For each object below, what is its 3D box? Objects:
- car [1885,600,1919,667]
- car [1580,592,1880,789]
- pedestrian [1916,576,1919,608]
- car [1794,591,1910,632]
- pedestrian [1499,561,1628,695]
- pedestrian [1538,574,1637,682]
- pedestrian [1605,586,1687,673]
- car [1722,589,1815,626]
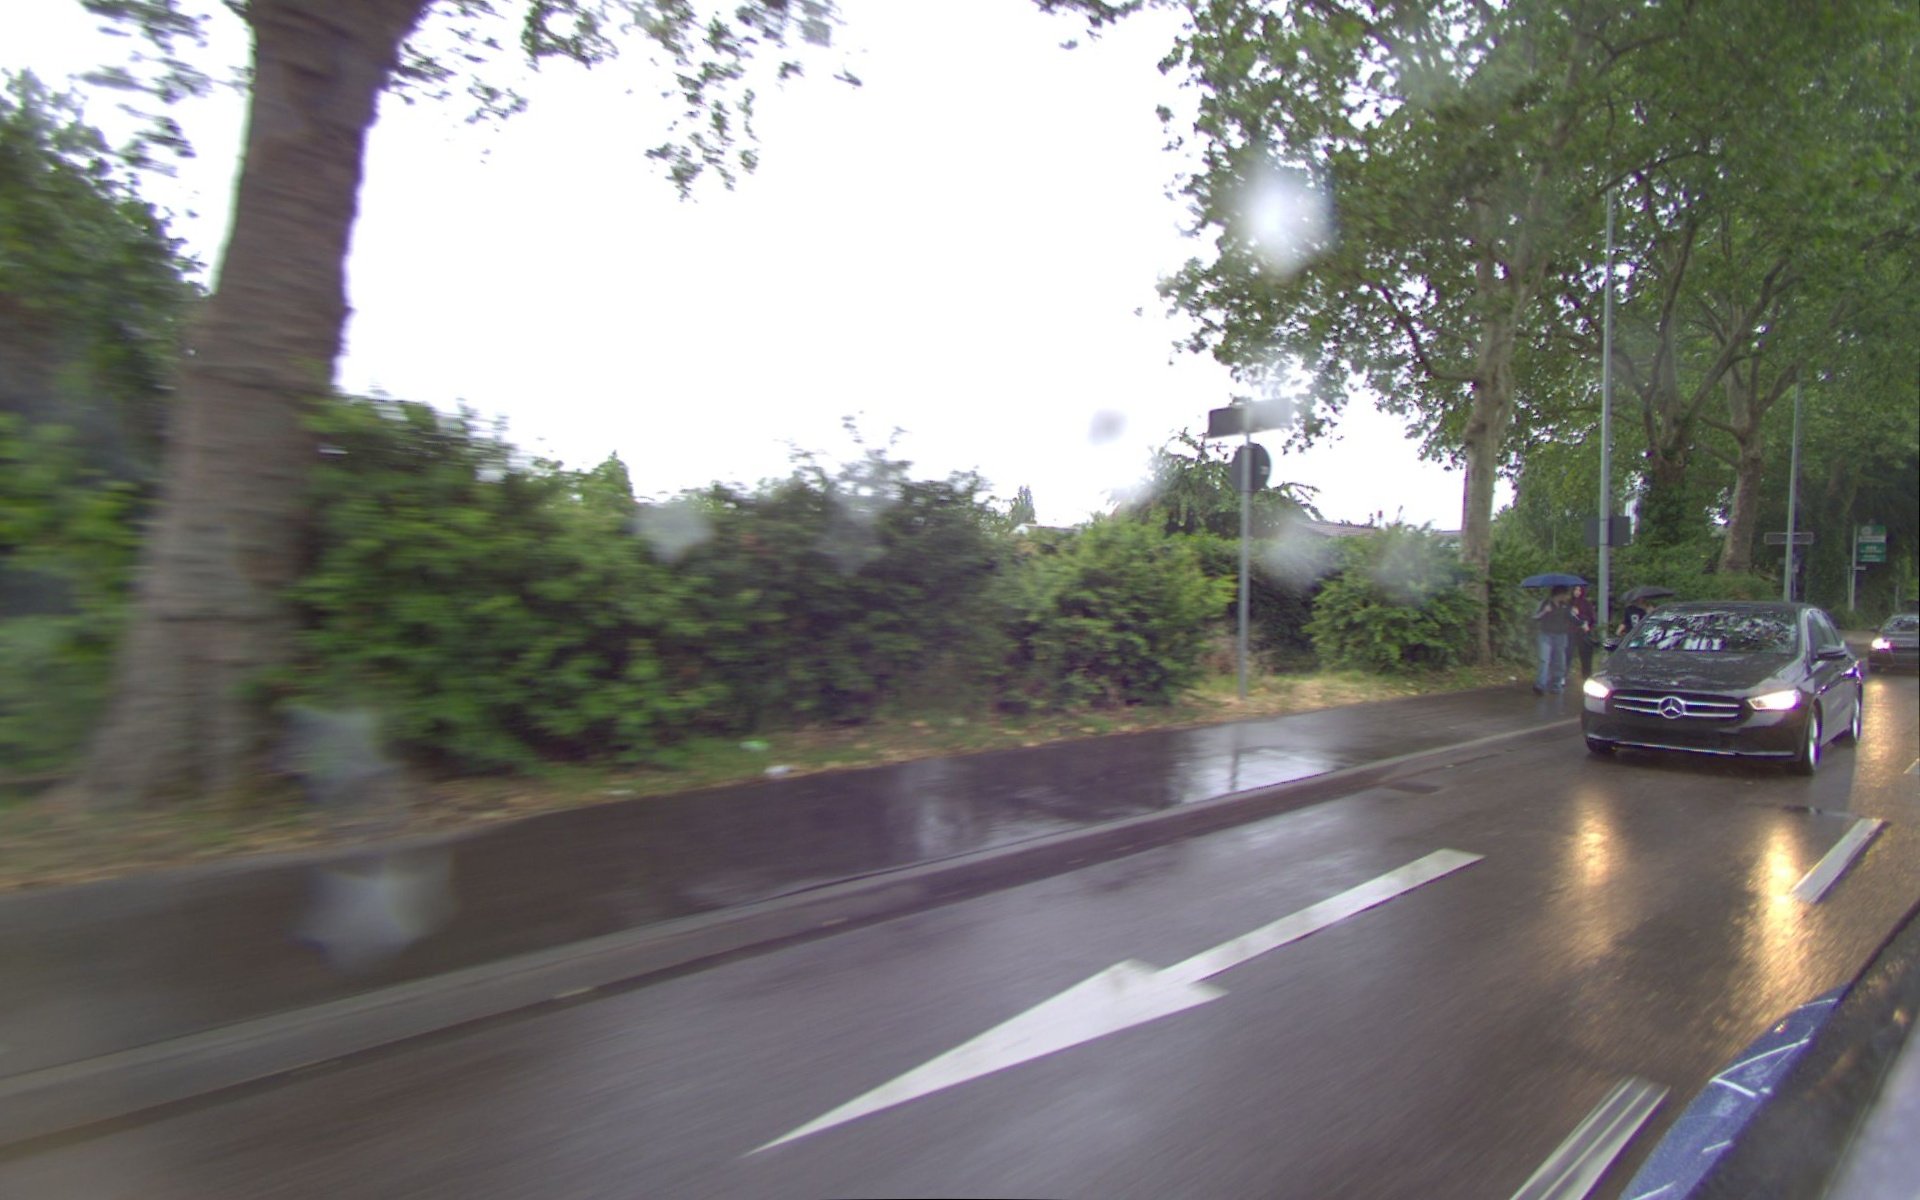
[{"bbox_3d":[22.529,0.735,23.157,3.716,1.402,1.640,-1,1,-41],"label":"car"},{"bbox_3d":[7.868,0.704,10.174,4.349,1.549,1.817,0,0,-45],"label":"car"},{"bbox_3d":[52.644,-0.436,54.923,1.121,1.724,0.968,1,-2,-42],"label":"pedestrian"},{"bbox_3d":[35.749,0.457,40.610,1.631,1.516,3.383,2,0,-44],"label":"car"},{"bbox_3d":[8.776,0.364,14.726,1.127,1.807,1.243,0,3,-40],"label":"pedestrian"},{"bbox_3d":[9.944,0.404,16.032,1.271,1.608,0.949,0,2,-41],"label":"pedestrian"},{"bbox_3d":[11.882,0.480,17.529,0.998,1.407,0.894,0,3,-40],"label":"pedestrian"},{"bbox_3d":[38.351,0.352,48.078,3.376,1.629,1.634,1,0,40],"label":"car"}]
